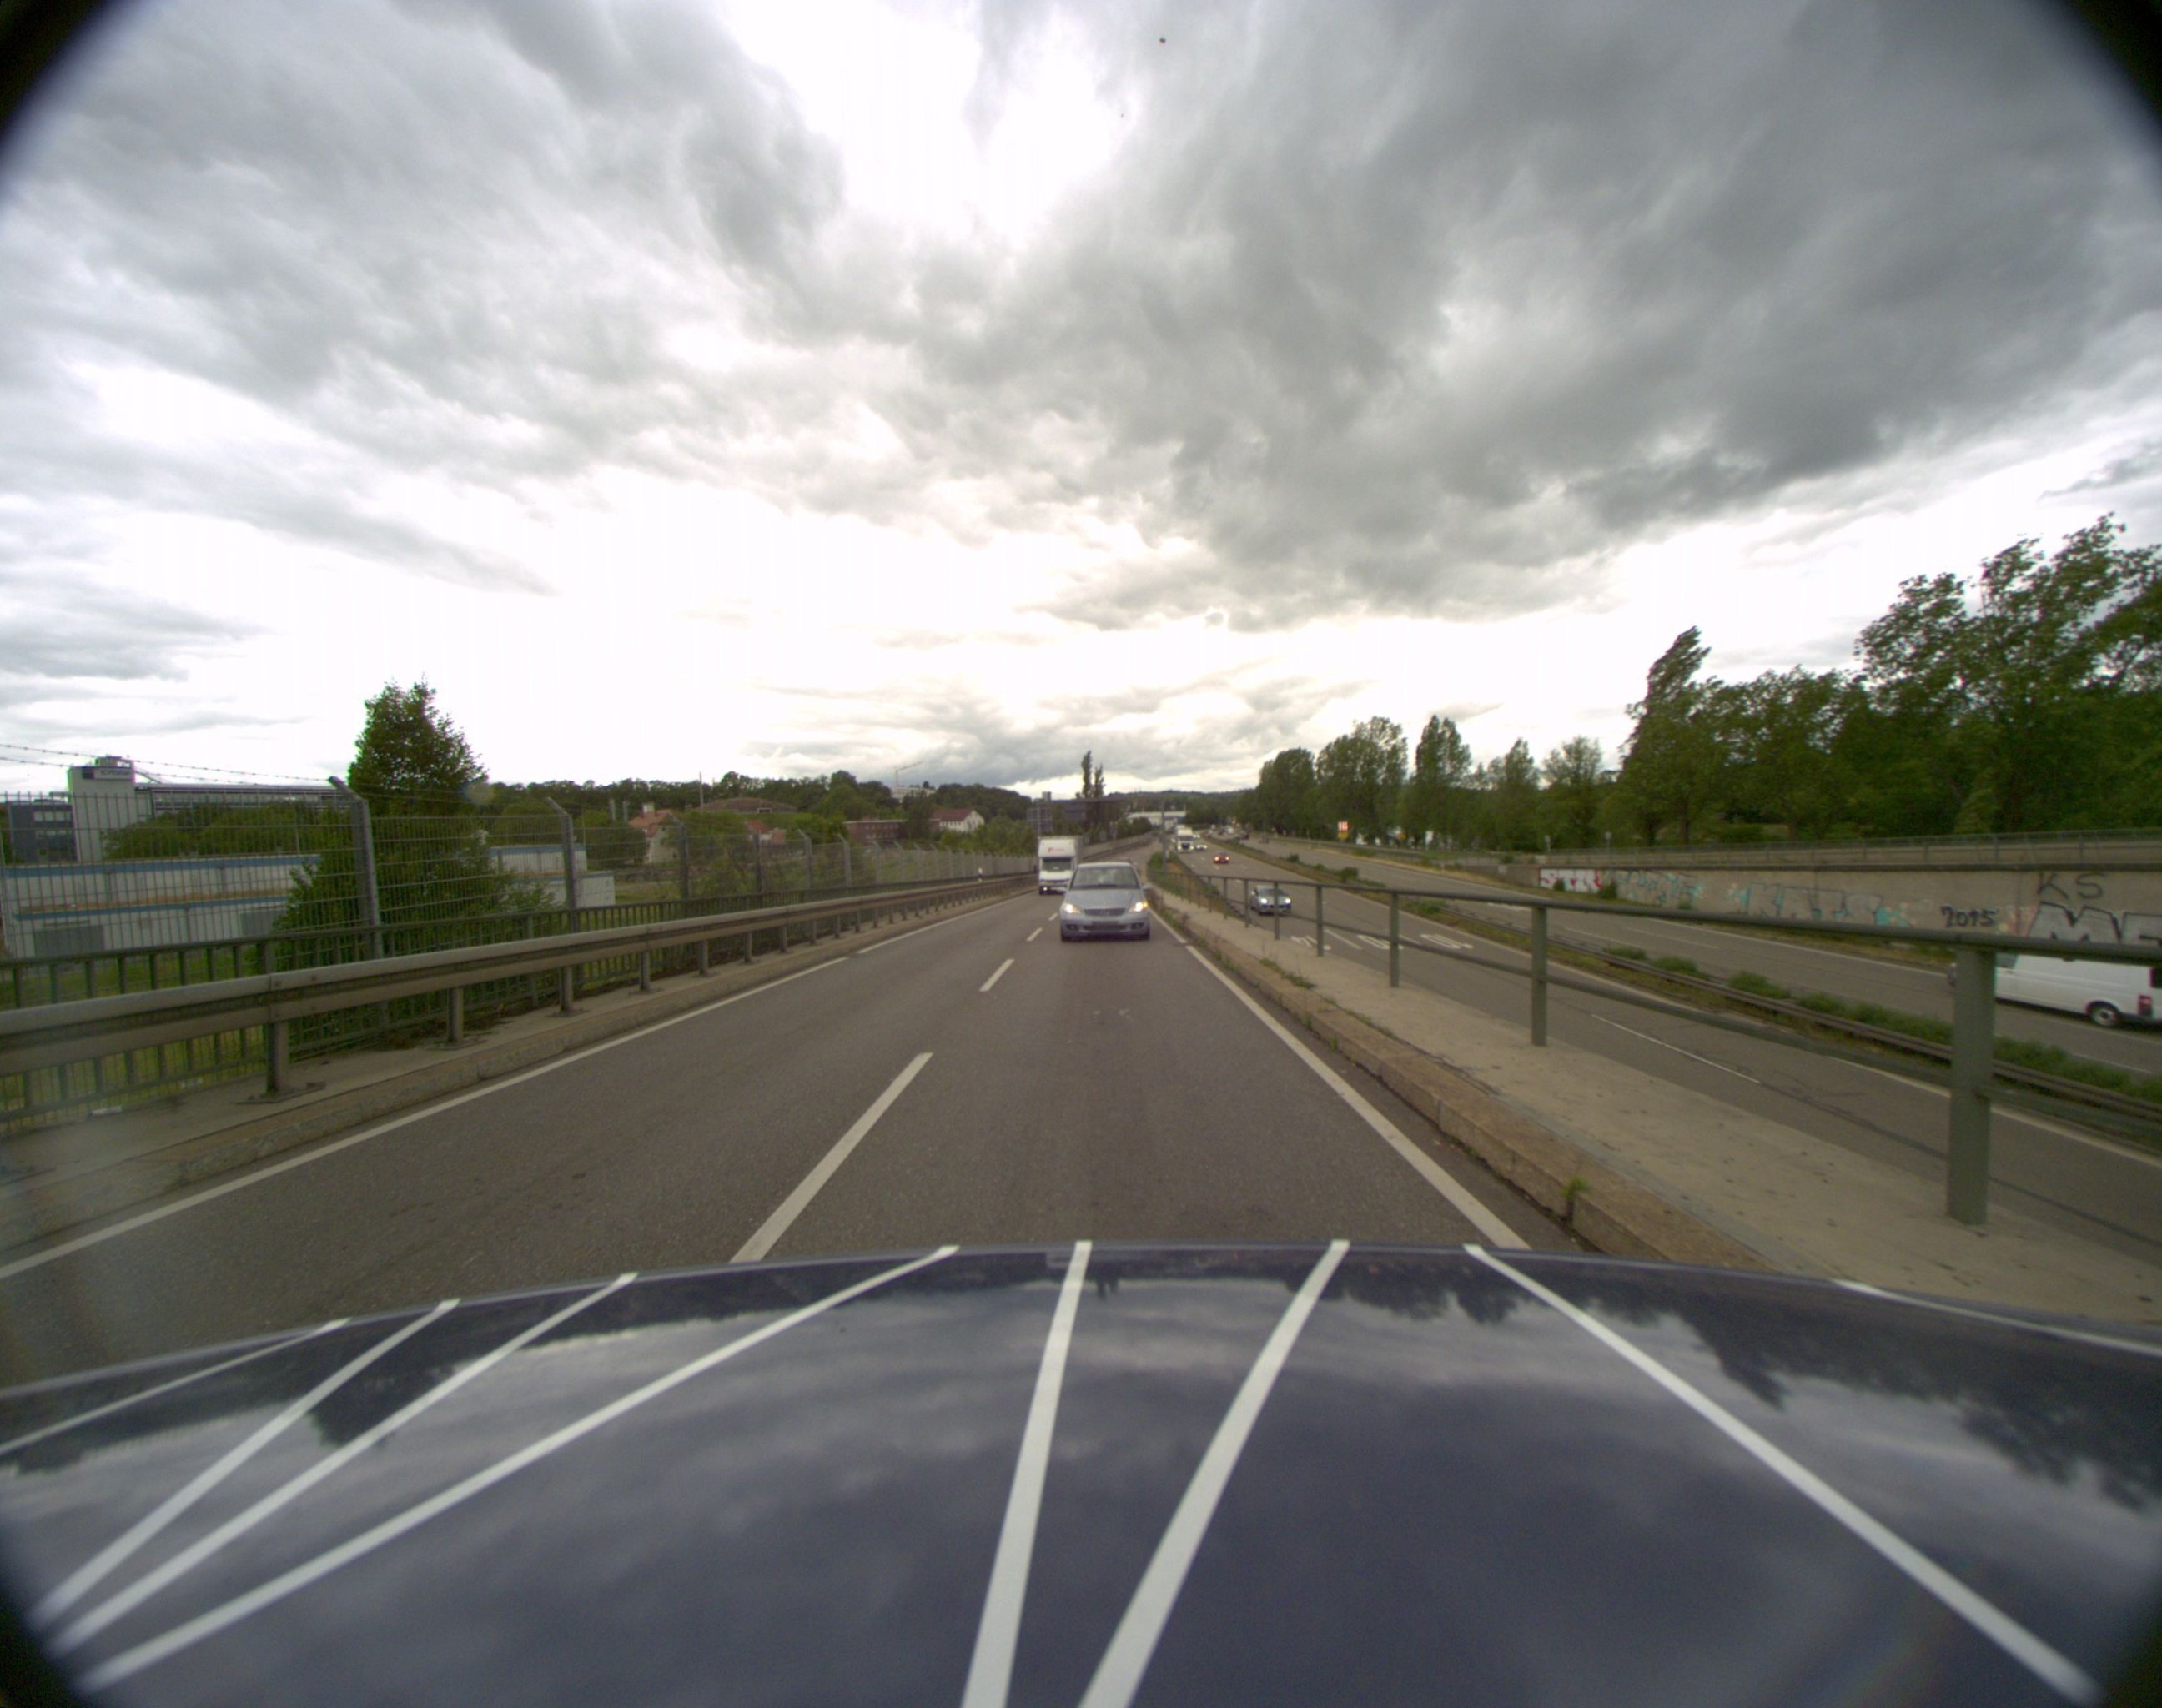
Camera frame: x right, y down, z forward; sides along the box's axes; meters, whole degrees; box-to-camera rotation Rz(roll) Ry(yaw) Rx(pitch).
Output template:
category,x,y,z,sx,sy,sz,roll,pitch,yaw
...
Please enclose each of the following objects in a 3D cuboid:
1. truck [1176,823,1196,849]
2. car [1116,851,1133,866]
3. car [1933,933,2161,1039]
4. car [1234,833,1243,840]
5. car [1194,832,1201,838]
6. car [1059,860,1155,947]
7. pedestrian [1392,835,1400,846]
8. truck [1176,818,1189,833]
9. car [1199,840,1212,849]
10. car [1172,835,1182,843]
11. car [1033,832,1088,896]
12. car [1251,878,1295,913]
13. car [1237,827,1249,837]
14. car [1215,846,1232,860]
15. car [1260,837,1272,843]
category,x,y,z,sx,sy,sz,roll,pitch,yaw
truck,17.849,-3.081,129.173,2.758,4.228,6.695,0,3,2
car,4.928,0.515,85.443,1.780,1.578,4.001,-2,0,4
car,29.740,3.824,23.040,1.998,2.056,5.175,-2,3,2
car,40.375,-4.543,194.897,1.668,1.493,3.857,0,3,3
car,35.489,-5.874,231.786,1.858,1.598,4.165,0,3,6
car,0.585,0.964,16.478,1.780,1.578,4.001,-2,0,2
pedestrian,51.461,-2.150,124.077,0.831,1.696,1.077,-2,4,3
truck,32.113,-9.203,240.878,3.179,4.501,11.121,-1,3,4
car,22.555,-1.683,138.082,1.919,1.411,4.275,-1,4,4
car,22.047,-3.477,174.665,1.858,1.598,4.164,-2,3,2
car,-1.064,0.502,43.767,2.665,3.310,7.090,-2,1,2
car,12.211,2.609,48.568,1.844,1.790,4.278,-2,3,3
car,44.712,-6.001,209.608,2.249,2.533,6.112,-1,3,2
car,18.603,-0.117,99.254,1.756,1.433,4.163,-1,4,4
car,41.551,-3.164,170.779,1.715,1.368,4.109,0,3,2
